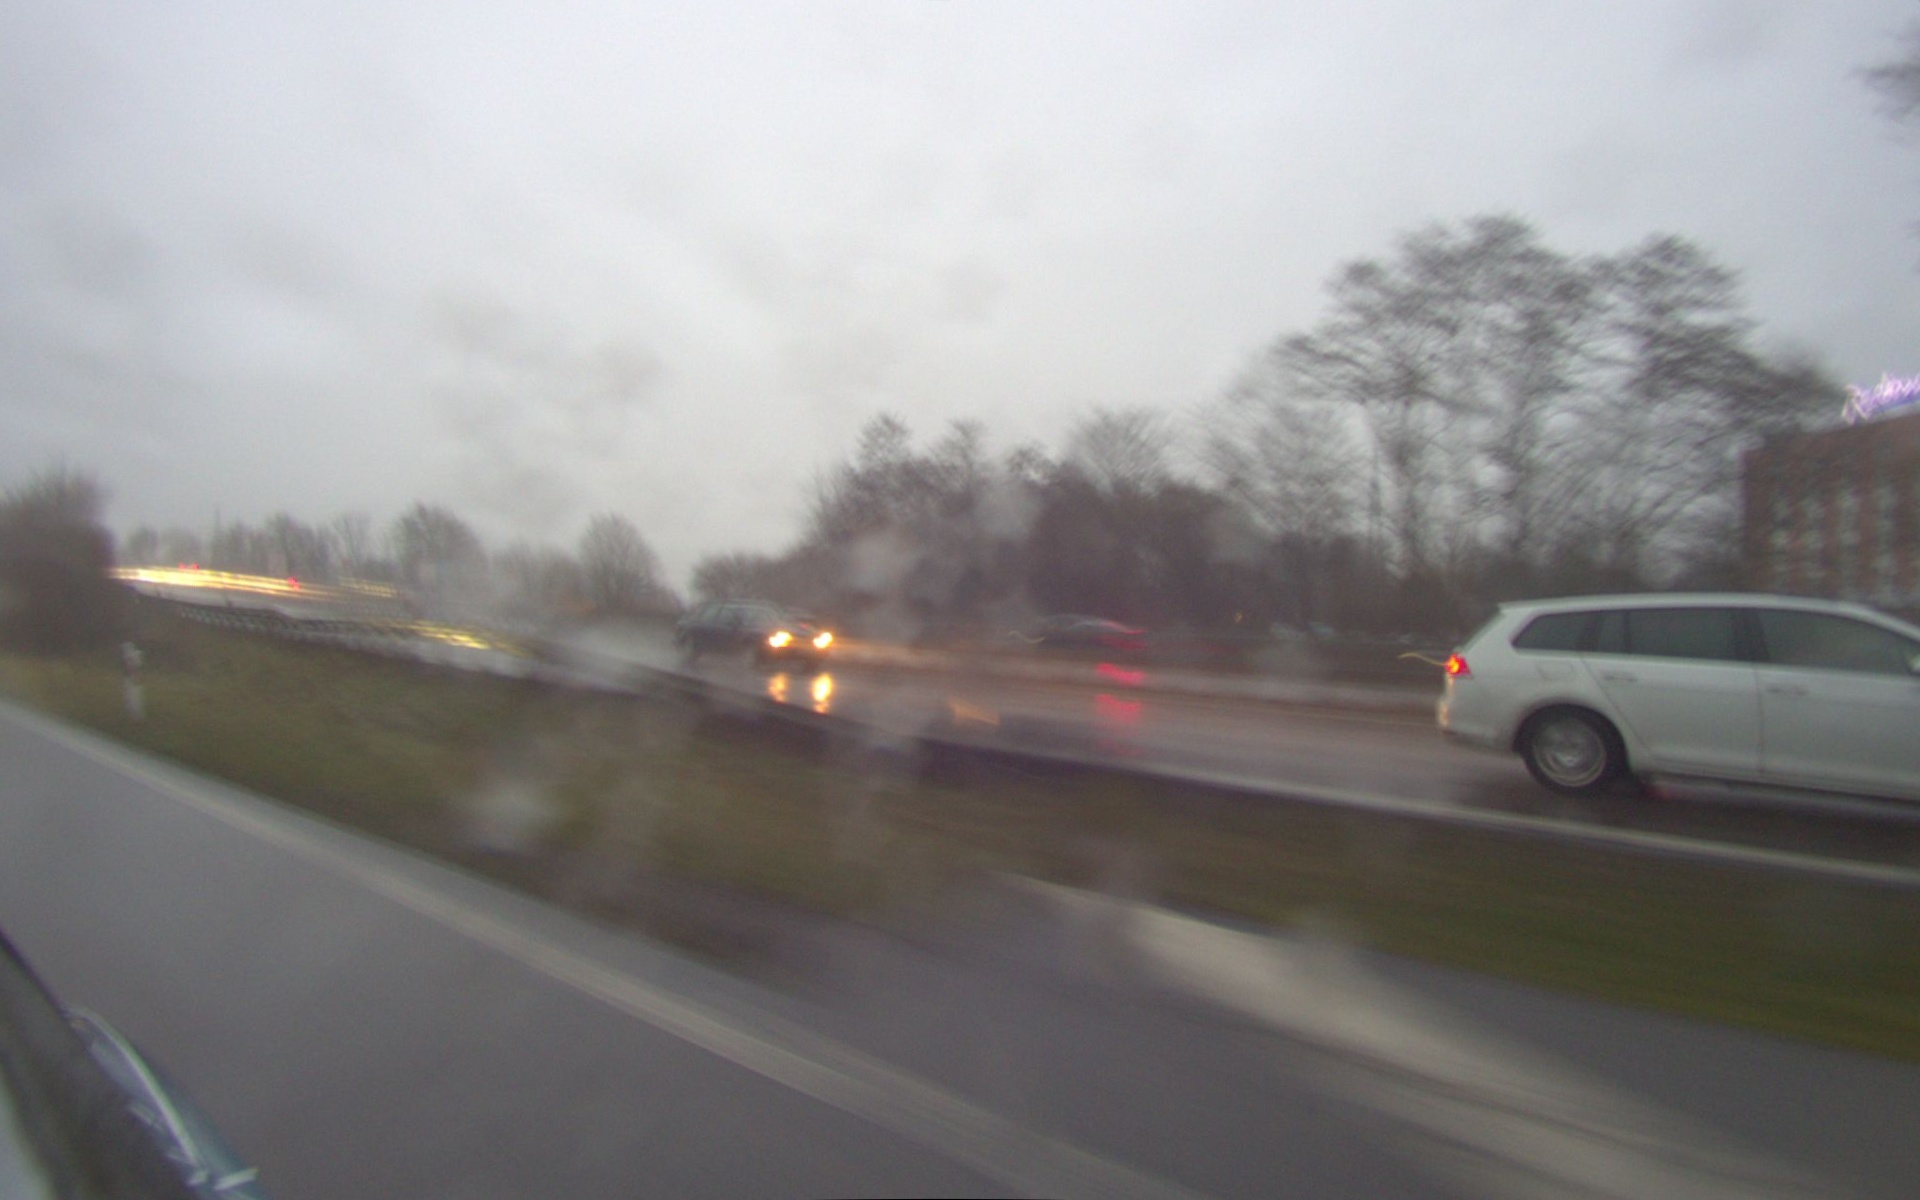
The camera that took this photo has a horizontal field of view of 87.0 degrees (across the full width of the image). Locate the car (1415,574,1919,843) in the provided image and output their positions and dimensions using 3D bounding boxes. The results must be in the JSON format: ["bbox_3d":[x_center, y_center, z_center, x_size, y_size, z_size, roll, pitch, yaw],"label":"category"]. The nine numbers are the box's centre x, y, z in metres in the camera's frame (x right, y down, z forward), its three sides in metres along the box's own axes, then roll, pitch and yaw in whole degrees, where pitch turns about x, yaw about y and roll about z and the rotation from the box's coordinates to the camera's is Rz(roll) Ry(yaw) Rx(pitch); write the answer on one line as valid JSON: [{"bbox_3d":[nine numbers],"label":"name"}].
[{"bbox_3d":[5.861,0.667,6.768,1.925,1.532,4.790,3,-4,-44],"label":"car"}]

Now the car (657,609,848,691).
[{"bbox_3d":[-4.635,1.040,22.125,1.756,1.546,4.705,-2,0,-45],"label":"car"}]

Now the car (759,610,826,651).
[{"bbox_3d":[-8.592,1.530,51.695,1.886,2.029,4.010,0,-1,-34],"label":"car"}]
